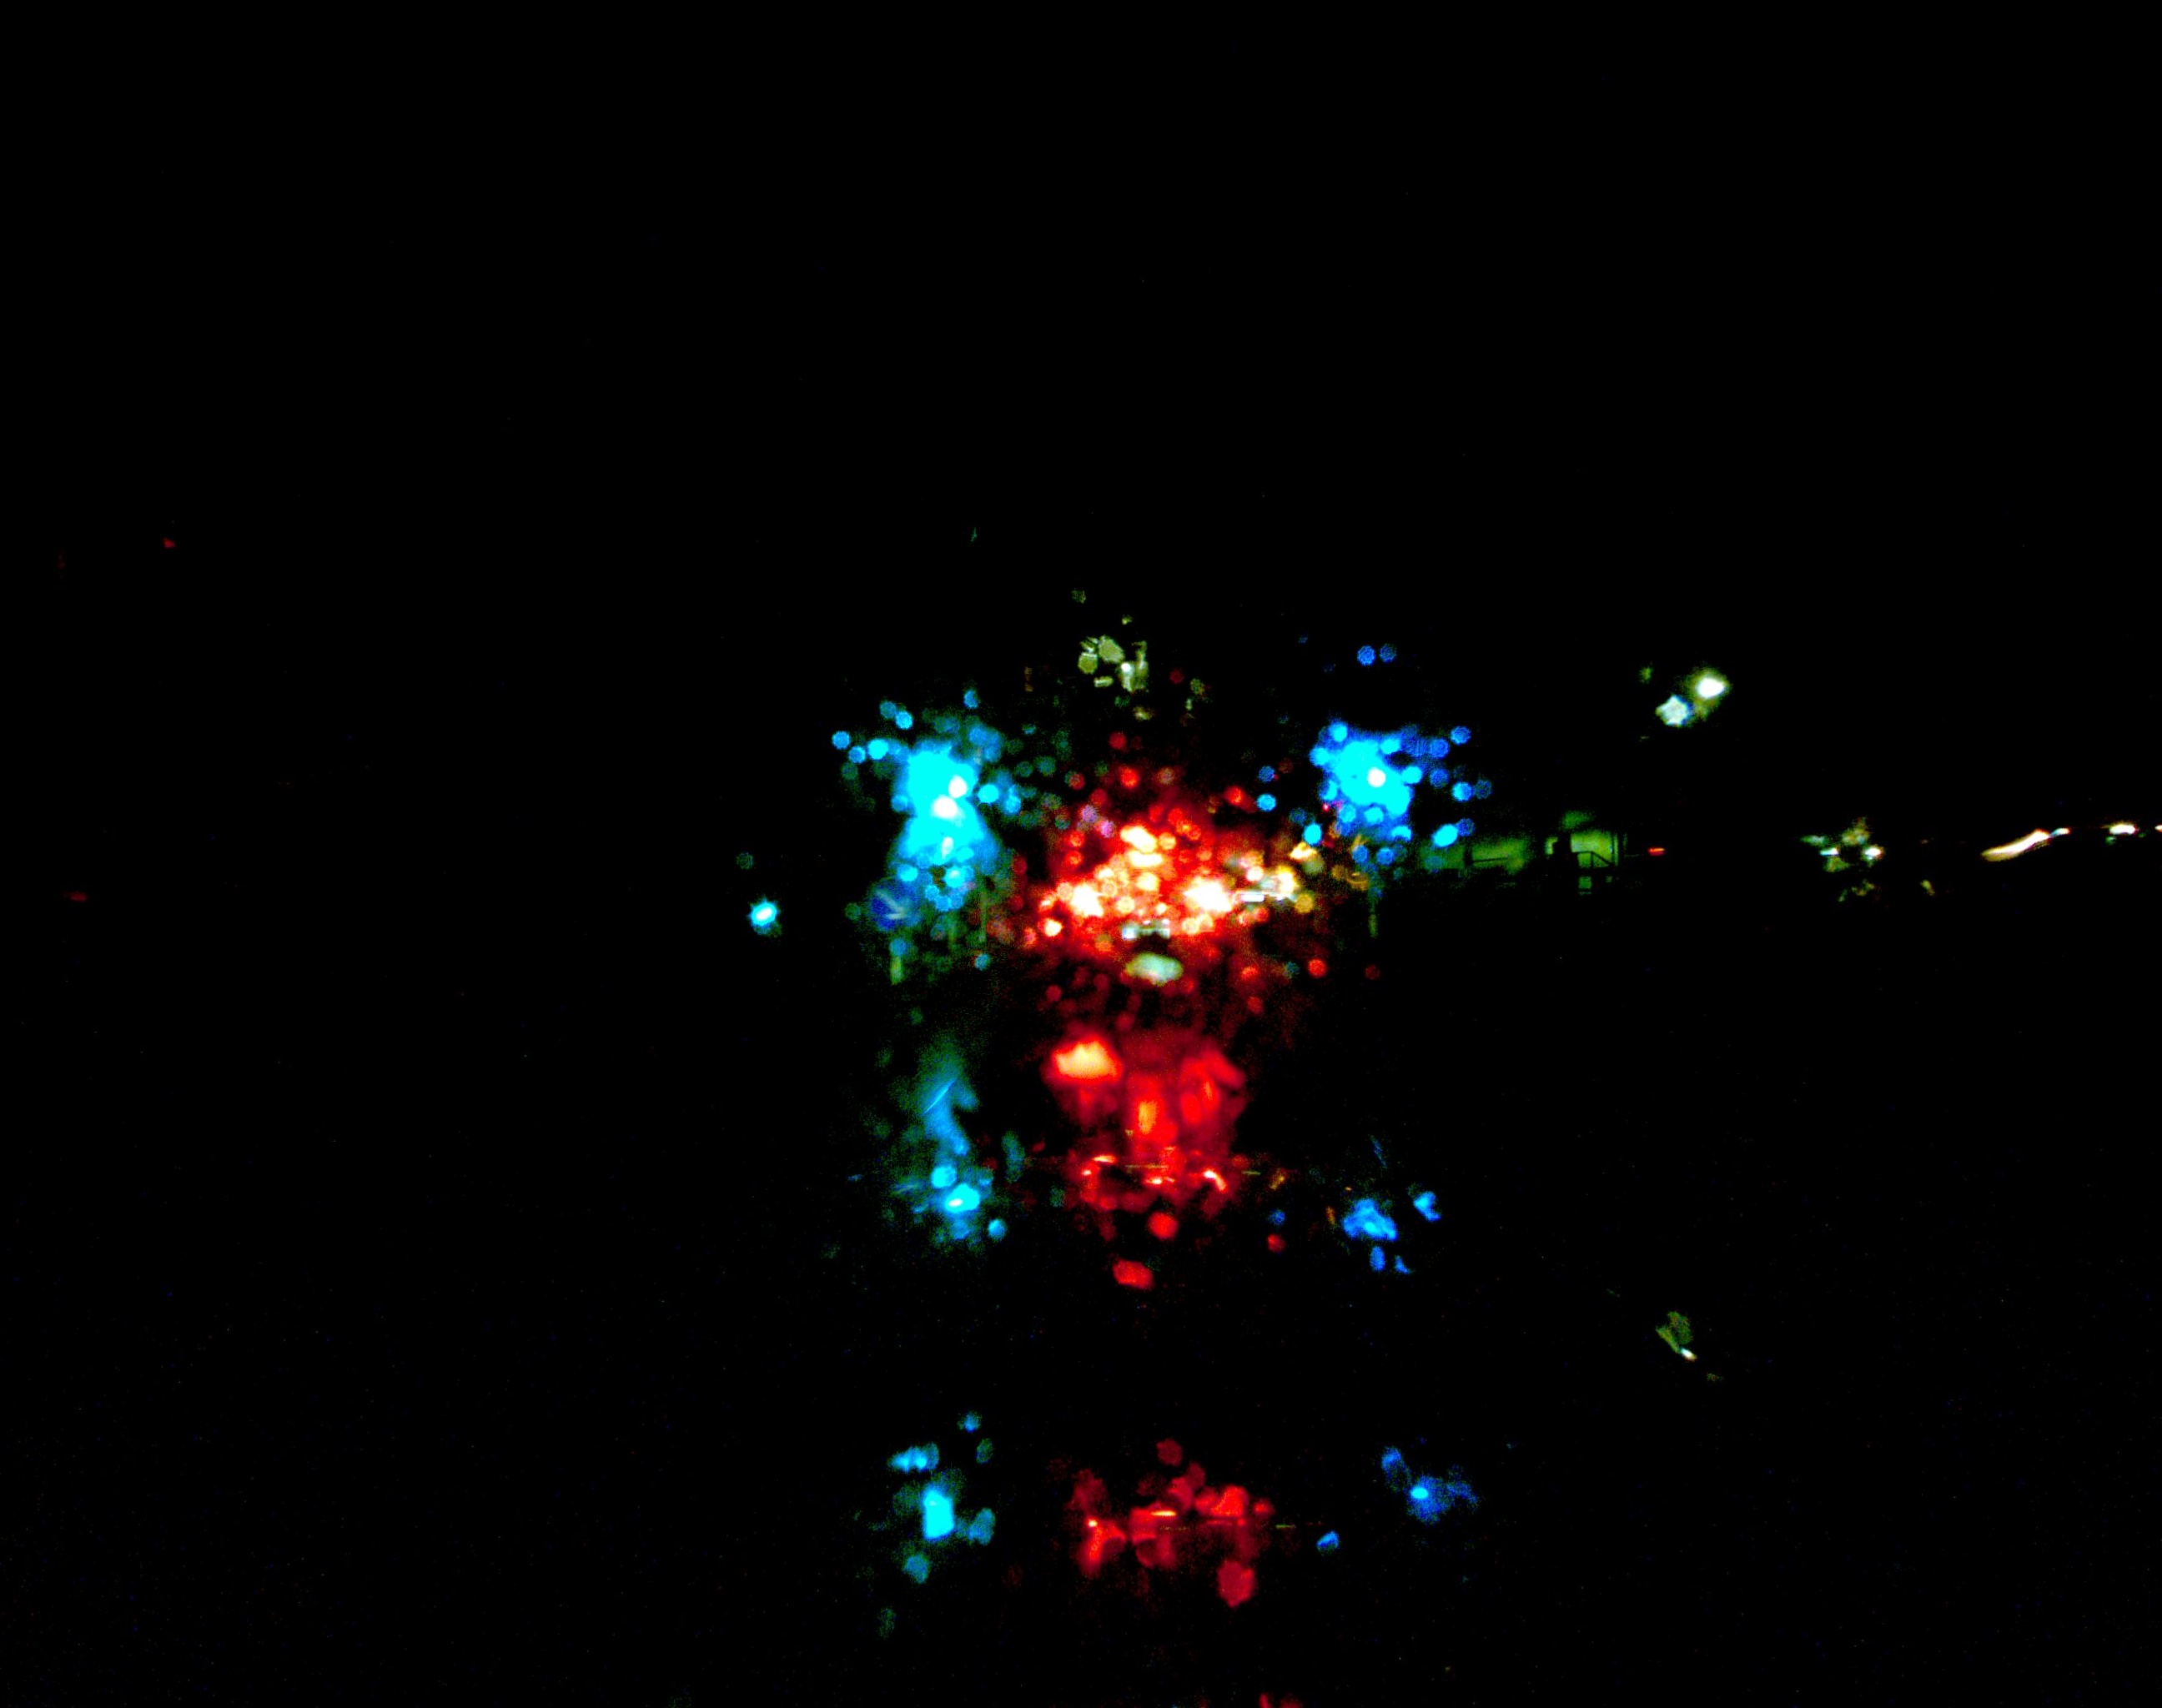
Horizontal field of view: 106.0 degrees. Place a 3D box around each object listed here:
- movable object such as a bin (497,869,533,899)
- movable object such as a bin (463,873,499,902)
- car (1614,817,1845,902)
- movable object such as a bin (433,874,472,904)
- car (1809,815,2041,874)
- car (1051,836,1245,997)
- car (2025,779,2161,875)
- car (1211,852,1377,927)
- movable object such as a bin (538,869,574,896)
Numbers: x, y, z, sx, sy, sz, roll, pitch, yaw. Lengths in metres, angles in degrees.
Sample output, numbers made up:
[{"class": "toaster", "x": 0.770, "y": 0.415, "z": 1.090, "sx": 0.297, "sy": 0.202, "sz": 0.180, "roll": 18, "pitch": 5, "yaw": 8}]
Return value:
[{"class": "movable object such as a bin", "x": -28.020, "y": 1.480, "z": 40.330, "sx": 1.396, "sy": 1.413, "sz": 1.239, "roll": 0, "pitch": -1, "yaw": -31}, {"class": "movable object such as a bin", "x": -29.231, "y": 1.617, "z": 39.685, "sx": 1.235, "sy": 1.325, "sz": 1.143, "roll": -1, "pitch": 0, "yaw": -27}, {"class": "car", "x": 16.130, "y": 0.145, "z": 20.465, "sx": 4.216, "sy": 1.947, "sz": 1.781, "roll": -1, "pitch": 0, "yaw": 8}, {"class": "movable object such as a bin", "x": -30.534, "y": 1.686, "z": 39.570, "sx": 1.326, "sy": 1.309, "sz": 1.165, "roll": -1, "pitch": 1, "yaw": -30}, {"class": "car", "x": 23.344, "y": -0.256, "z": 22.695, "sx": 4.168, "sy": 1.517, "sz": 1.985, "roll": 1, "pitch": -1, "yaw": 8}, {"class": "car", "x": 0.957, "y": 0.683, "z": 10.867, "sx": 2.047, "sy": 1.678, "sz": 4.147, "roll": 1, "pitch": 0, "yaw": 7}, {"class": "car", "x": 29.262, "y": -0.666, "z": 21.919, "sx": 4.816, "sy": 2.442, "sz": 2.180, "roll": 1, "pitch": -1, "yaw": 8}, {"class": "car", "x": 5.000, "y": 0.726, "z": 18.765, "sx": 1.891, "sy": 1.510, "sz": 4.266, "roll": -1, "pitch": -1, "yaw": 43}, {"class": "movable object such as a bin", "x": -26.466, "y": 1.437, "z": 41.100, "sx": 1.319, "sy": 1.299, "sz": 1.242, "roll": 0, "pitch": -1, "yaw": -23}]
